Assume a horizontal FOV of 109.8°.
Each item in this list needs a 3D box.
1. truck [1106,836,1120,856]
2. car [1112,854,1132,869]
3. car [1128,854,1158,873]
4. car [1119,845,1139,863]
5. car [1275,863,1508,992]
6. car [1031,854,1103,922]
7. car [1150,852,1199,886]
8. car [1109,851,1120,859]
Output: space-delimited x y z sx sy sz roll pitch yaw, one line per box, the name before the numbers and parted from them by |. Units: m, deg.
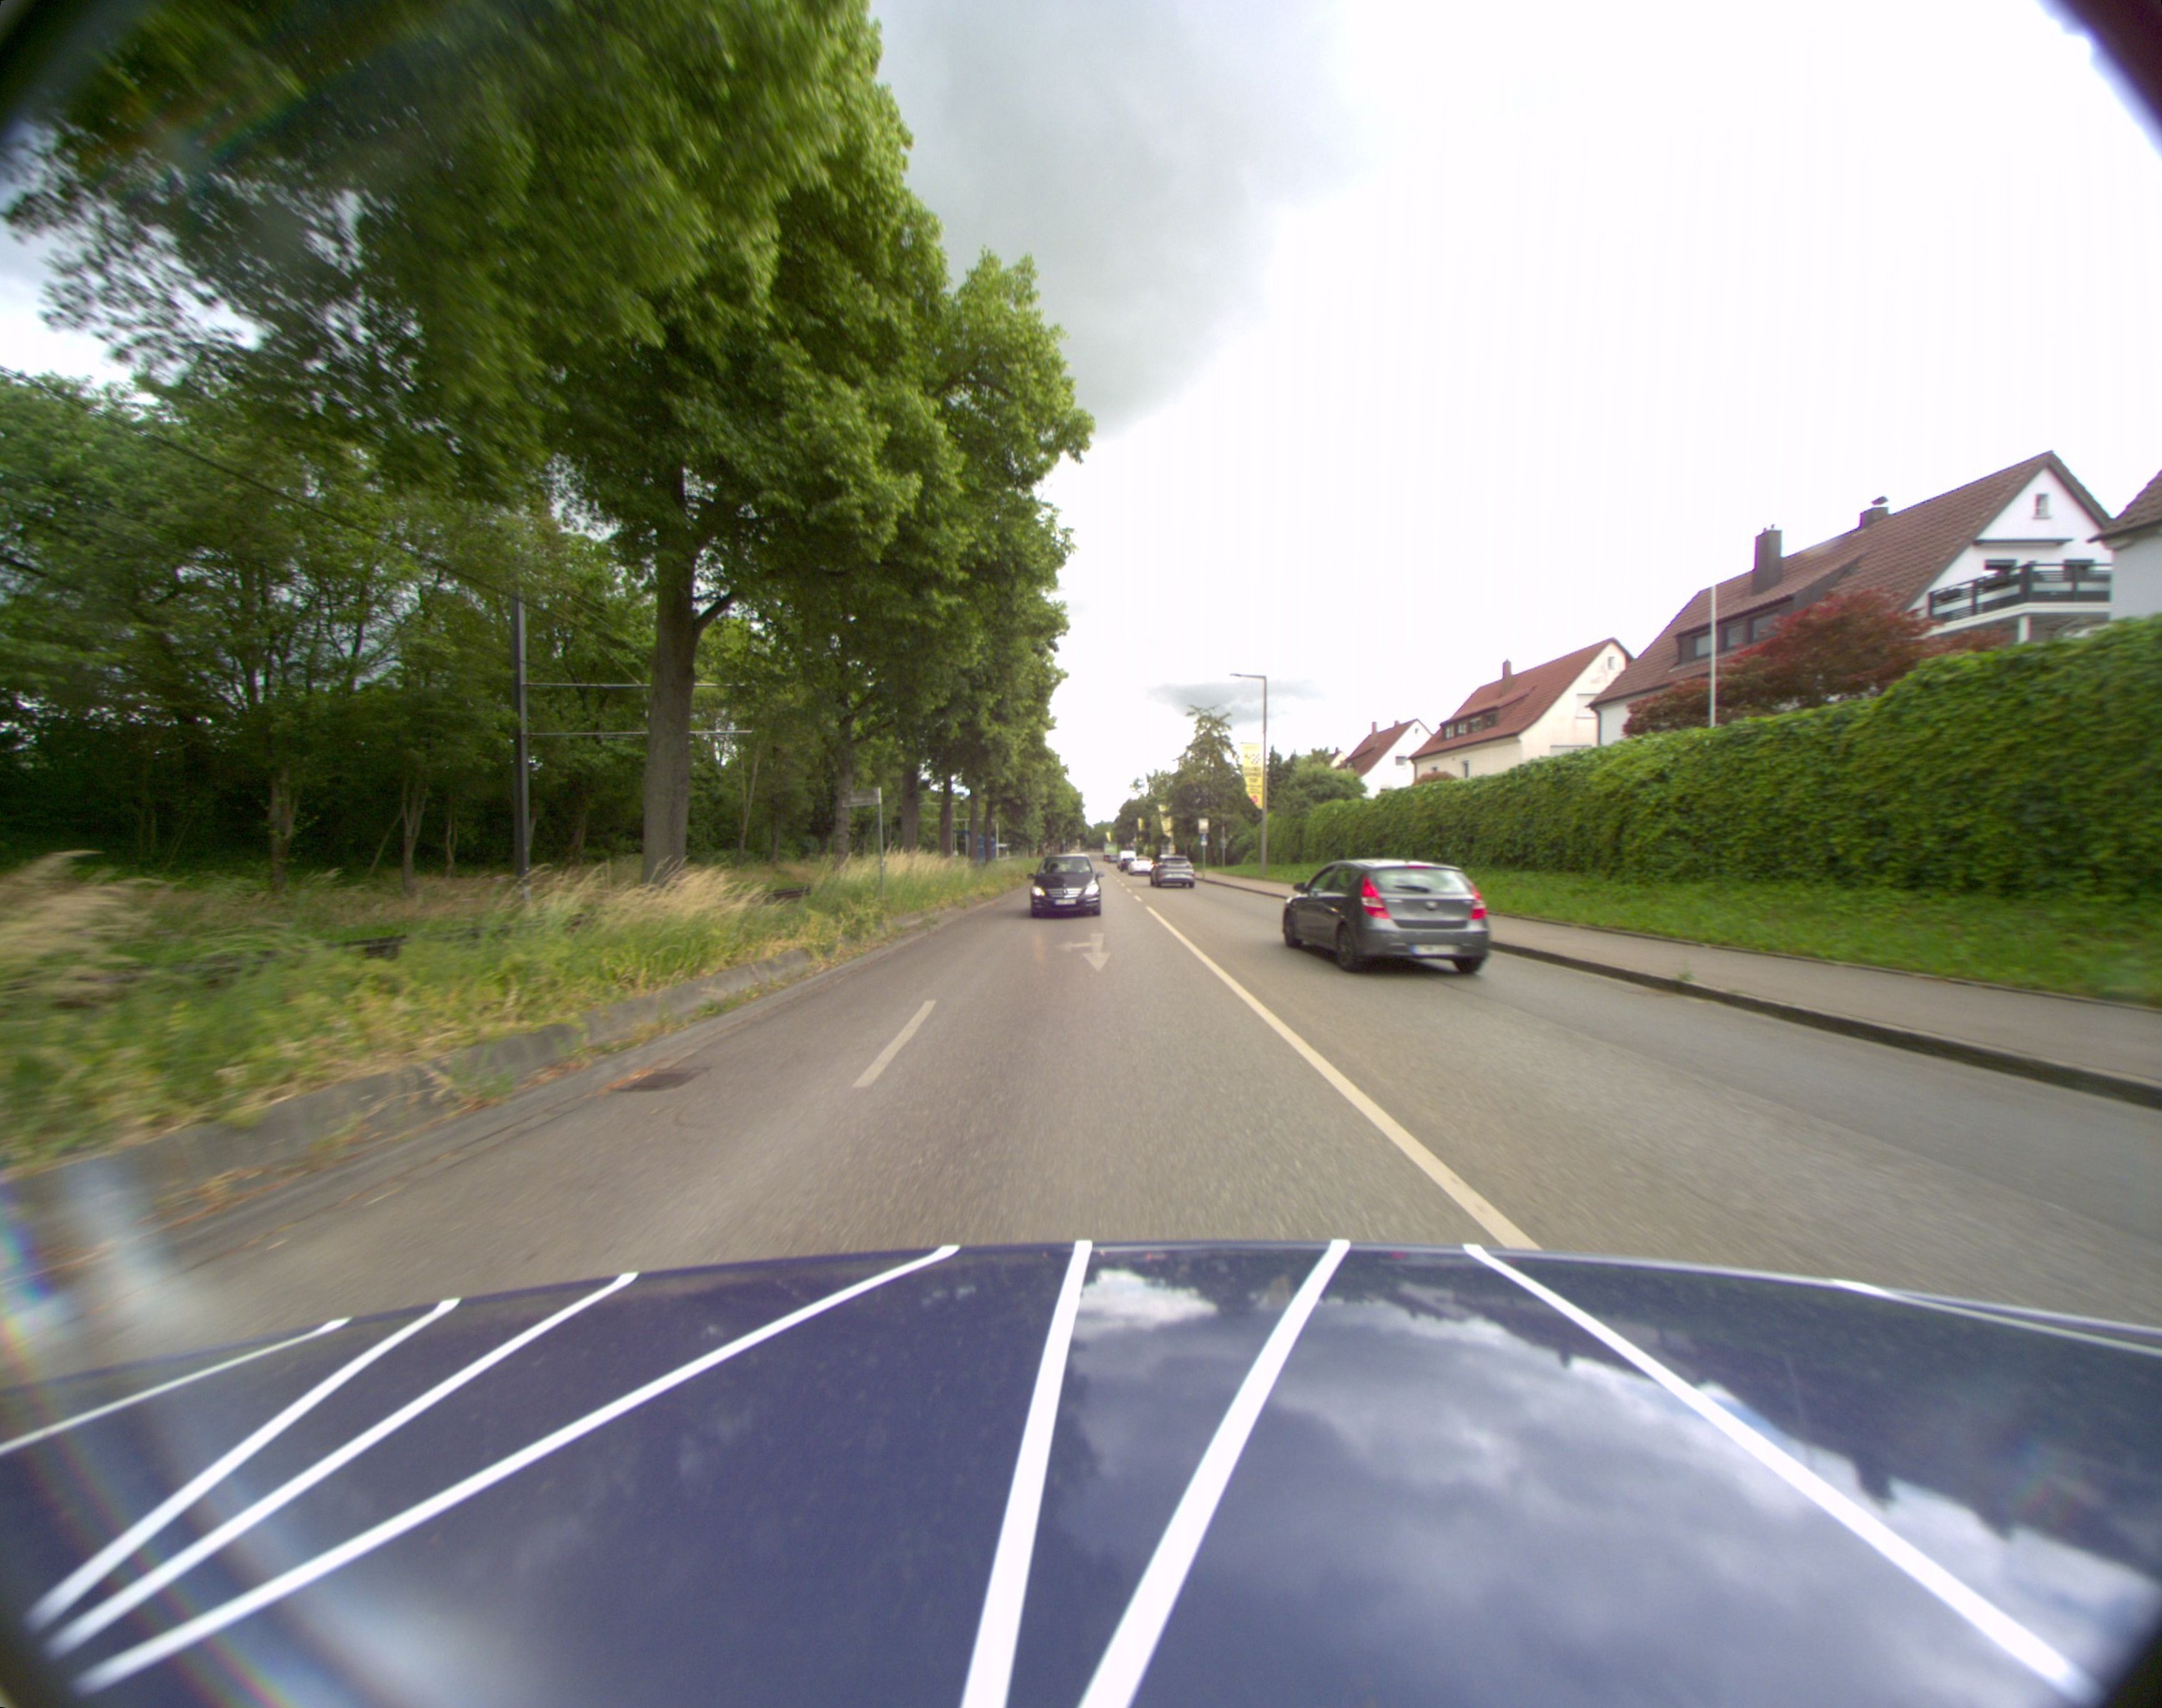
truck | 6.702 -1.635 160.304 2.556 4.020 10.618 1 1 0
car | 3.824 0.692 70.731 1.655 1.340 4.477 0 0 1
car | 4.701 0.701 57.968 1.891 1.375 4.490 1 0 -1
car | 5.362 0.014 85.494 1.911 1.921 4.910 1 0 0
car | 4.213 0.891 11.097 1.732 1.456 4.153 1 0 1
car | -0.334 0.824 20.687 1.683 1.565 4.482 -2 0 0
car | 4.398 0.683 36.292 1.756 1.510 4.000 1 0 -1
car | 5.884 0.204 133.817 1.737 1.367 4.239 -1 0 0
